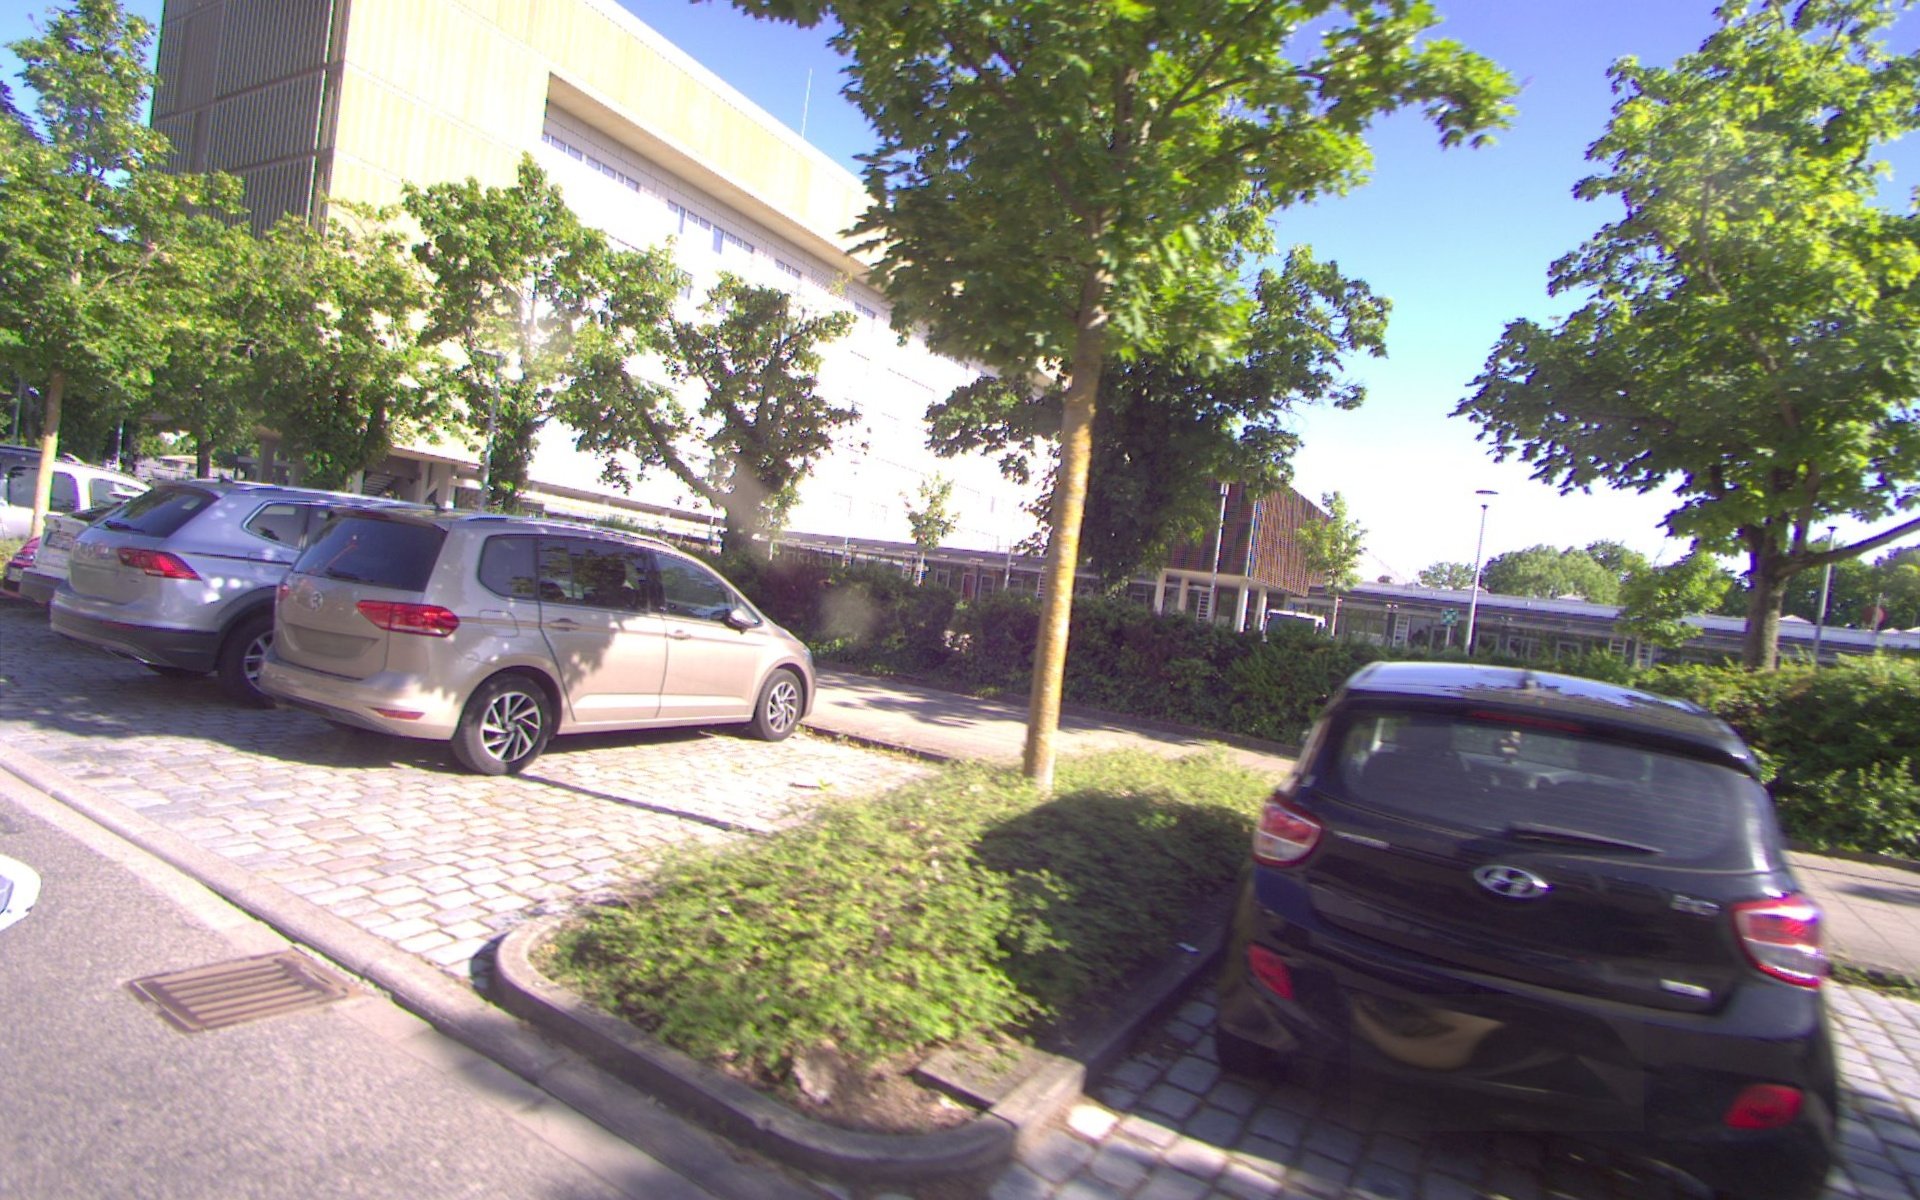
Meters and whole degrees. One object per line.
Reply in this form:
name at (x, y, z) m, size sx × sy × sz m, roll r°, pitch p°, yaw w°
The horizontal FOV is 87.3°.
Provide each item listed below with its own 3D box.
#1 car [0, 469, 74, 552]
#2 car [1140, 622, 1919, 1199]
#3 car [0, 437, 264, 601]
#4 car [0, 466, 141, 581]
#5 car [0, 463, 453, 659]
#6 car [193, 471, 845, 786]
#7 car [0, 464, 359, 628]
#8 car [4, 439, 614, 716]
car at (-18.936, -1.826, 18.161) m, size 1.713 × 1.444 × 4.063 m, roll 7°, pitch 1°, yaw 33°
car at (2.212, 0.977, 4.150) m, size 1.717 × 1.508 × 3.456 m, roll 7°, pitch 1°, yaw 29°
car at (-12.908, -1.216, 14.529) m, size 1.945 × 1.952 × 4.125 m, roll 9°, pitch 1°, yaw 29°
car at (-15.299, -1.319, 15.573) m, size 1.677 × 1.569 × 3.611 m, roll 9°, pitch 1°, yaw 29°
car at (-7.482, -0.290, 10.470) m, size 1.707 × 1.549 × 3.504 m, roll 9°, pitch 1°, yaw 26°
car at (-2.977, 0.211, 7.860) m, size 1.879 × 1.628 × 4.327 m, roll 8°, pitch 1°, yaw 28°
car at (-9.375, -0.563, 12.034) m, size 1.571 × 1.549 × 3.372 m, roll 7°, pitch 0°, yaw 23°
car at (-5.310, -0.100, 8.767) m, size 1.907 × 1.717 × 3.905 m, roll 9°, pitch 1°, yaw 29°
